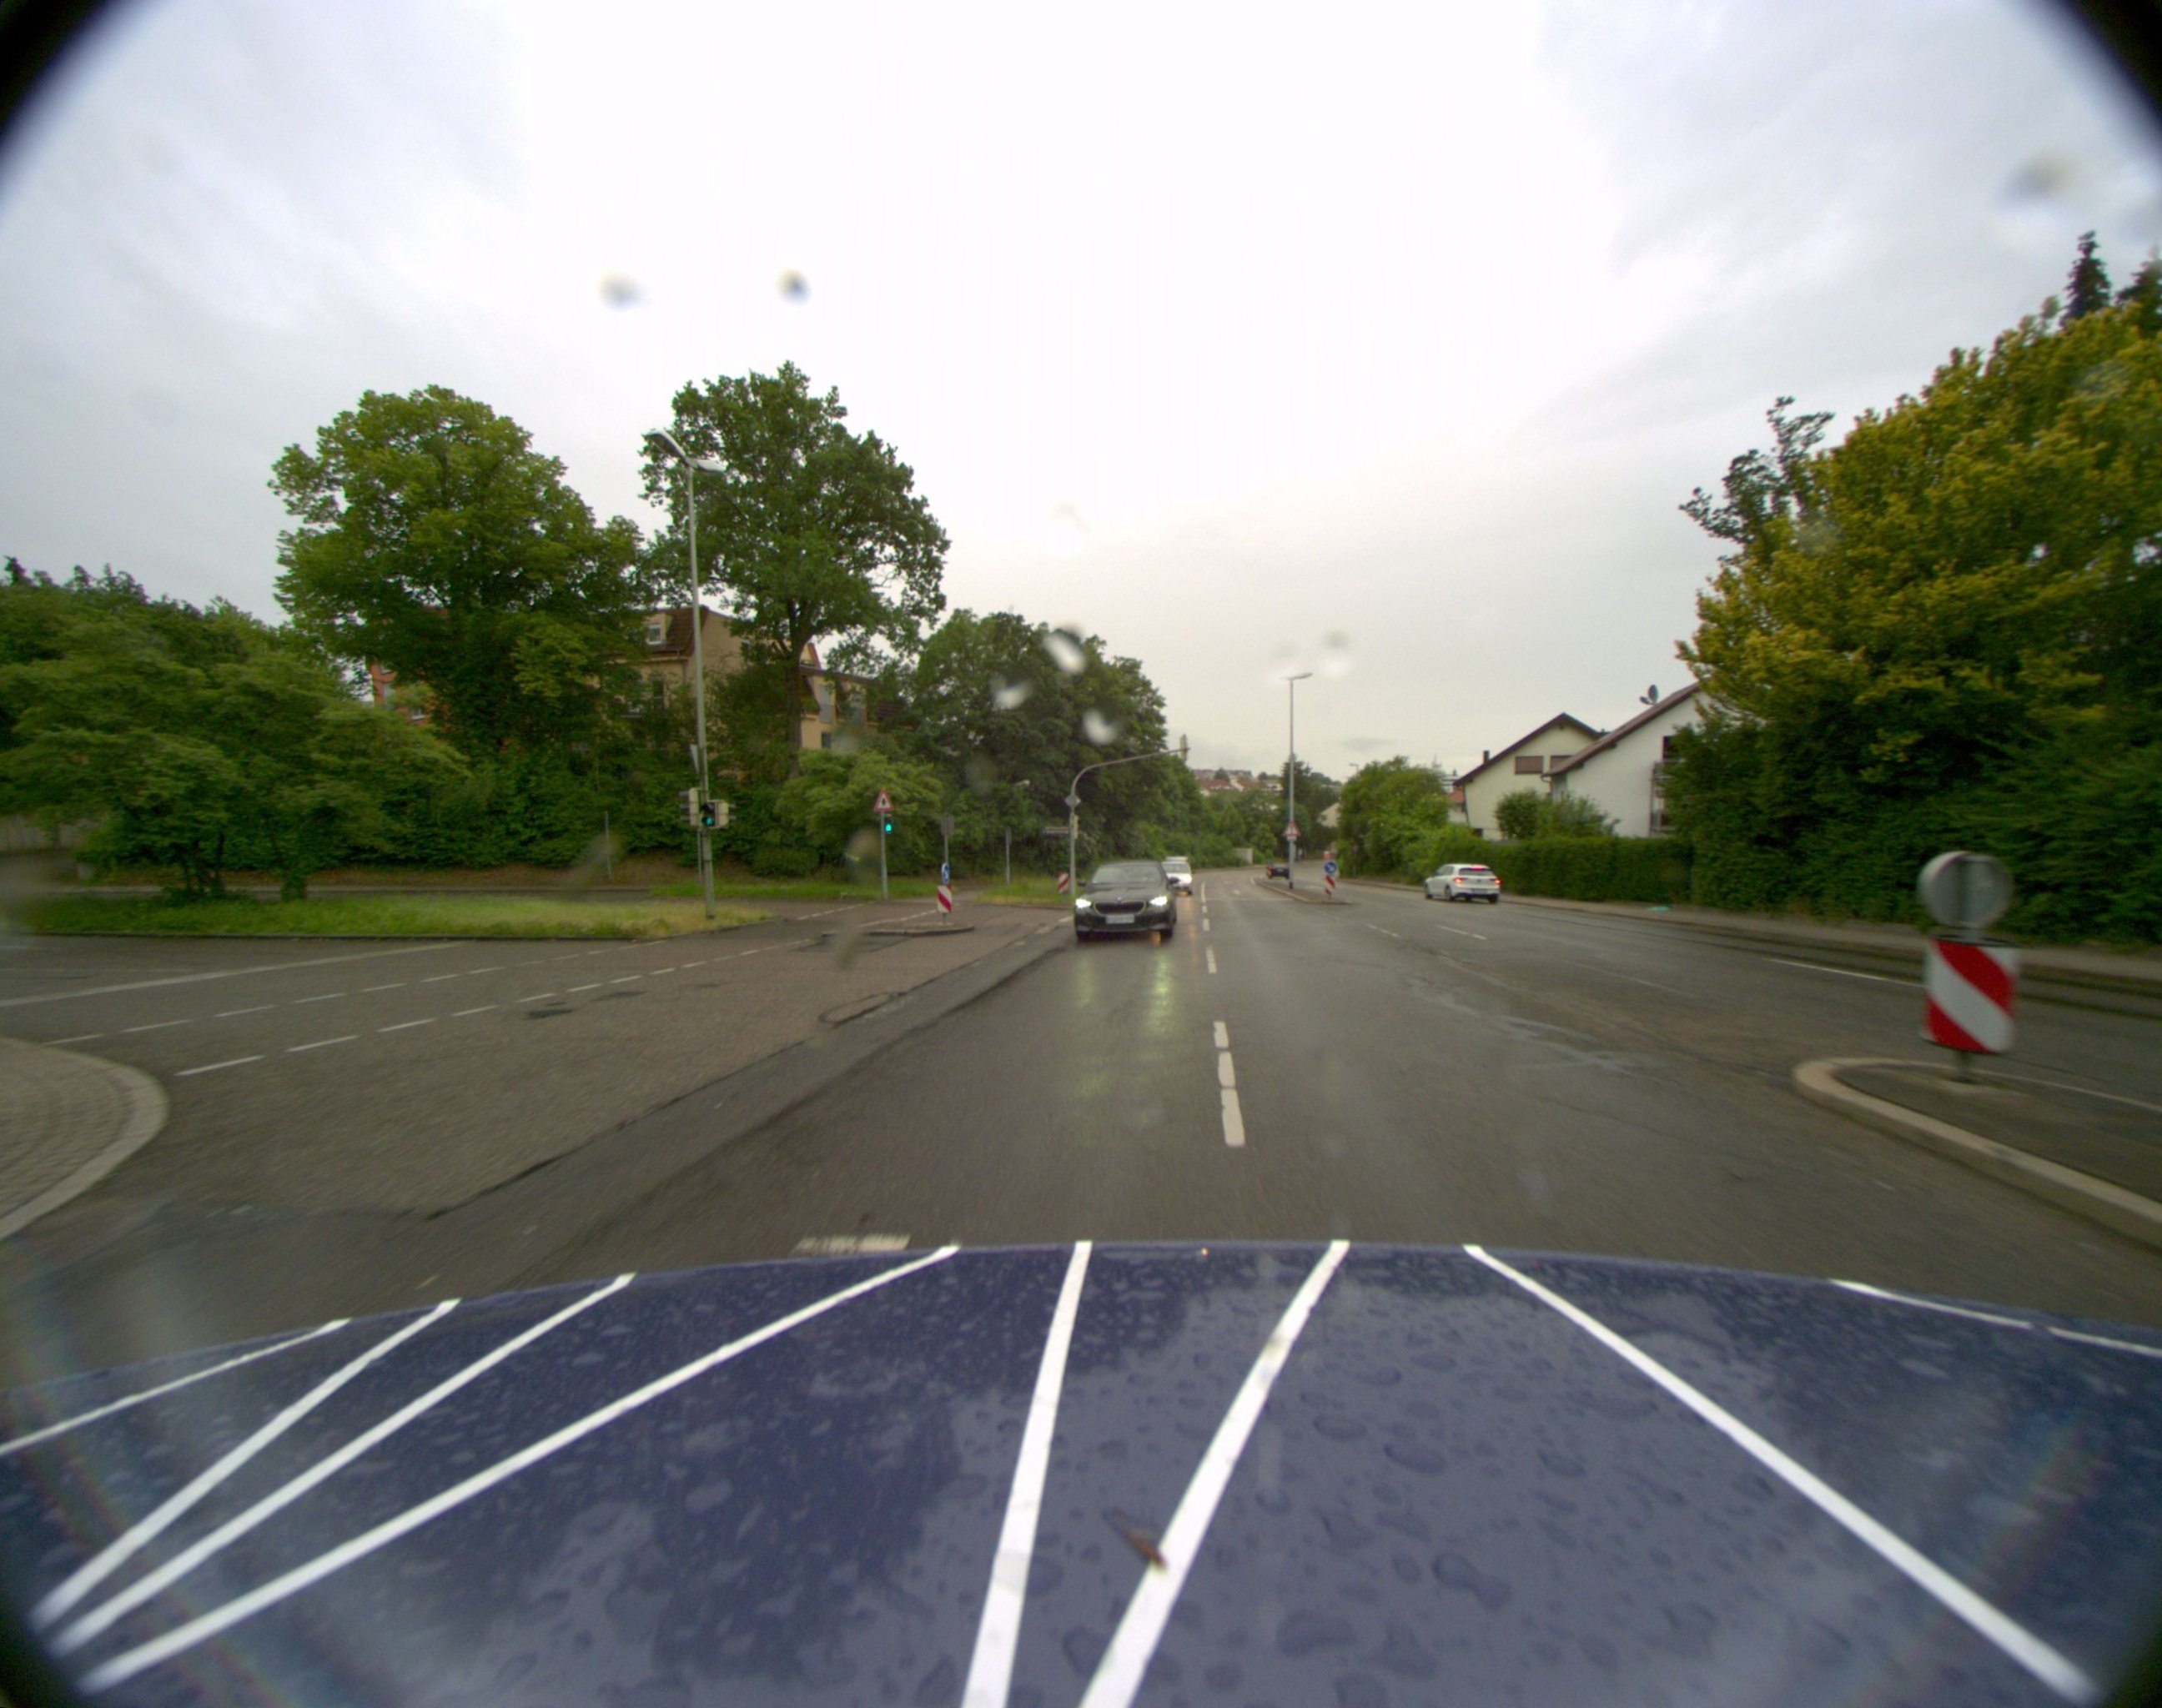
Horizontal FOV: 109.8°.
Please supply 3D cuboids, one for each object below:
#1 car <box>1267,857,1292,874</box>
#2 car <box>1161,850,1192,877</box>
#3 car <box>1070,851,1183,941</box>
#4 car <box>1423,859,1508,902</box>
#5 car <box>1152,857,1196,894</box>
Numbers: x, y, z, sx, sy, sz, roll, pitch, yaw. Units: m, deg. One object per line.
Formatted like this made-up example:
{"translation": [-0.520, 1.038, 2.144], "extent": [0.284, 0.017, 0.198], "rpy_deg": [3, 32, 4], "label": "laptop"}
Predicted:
{"translation": [18.172, 1.020, 69.532], "extent": [1.866, 1.484, 3.837], "rpy_deg": [1, 0, 10], "label": "car"}
{"translation": [6.900, 0.651, 54.472], "extent": [1.812, 1.797, 4.123], "rpy_deg": [1, 0, 13], "label": "car"}
{"translation": [1.090, 0.749, 15.852], "extent": [1.866, 1.547, 4.122], "rpy_deg": [1, 1, 10], "label": "car"}
{"translation": [14.854, 0.973, 29.615], "extent": [1.730, 1.476, 4.160], "rpy_deg": [2, 0, 9], "label": "car"}
{"translation": [4.380, 0.950, 35.298], "extent": [1.813, 1.546, 4.123], "rpy_deg": [1, 0, 10], "label": "car"}
